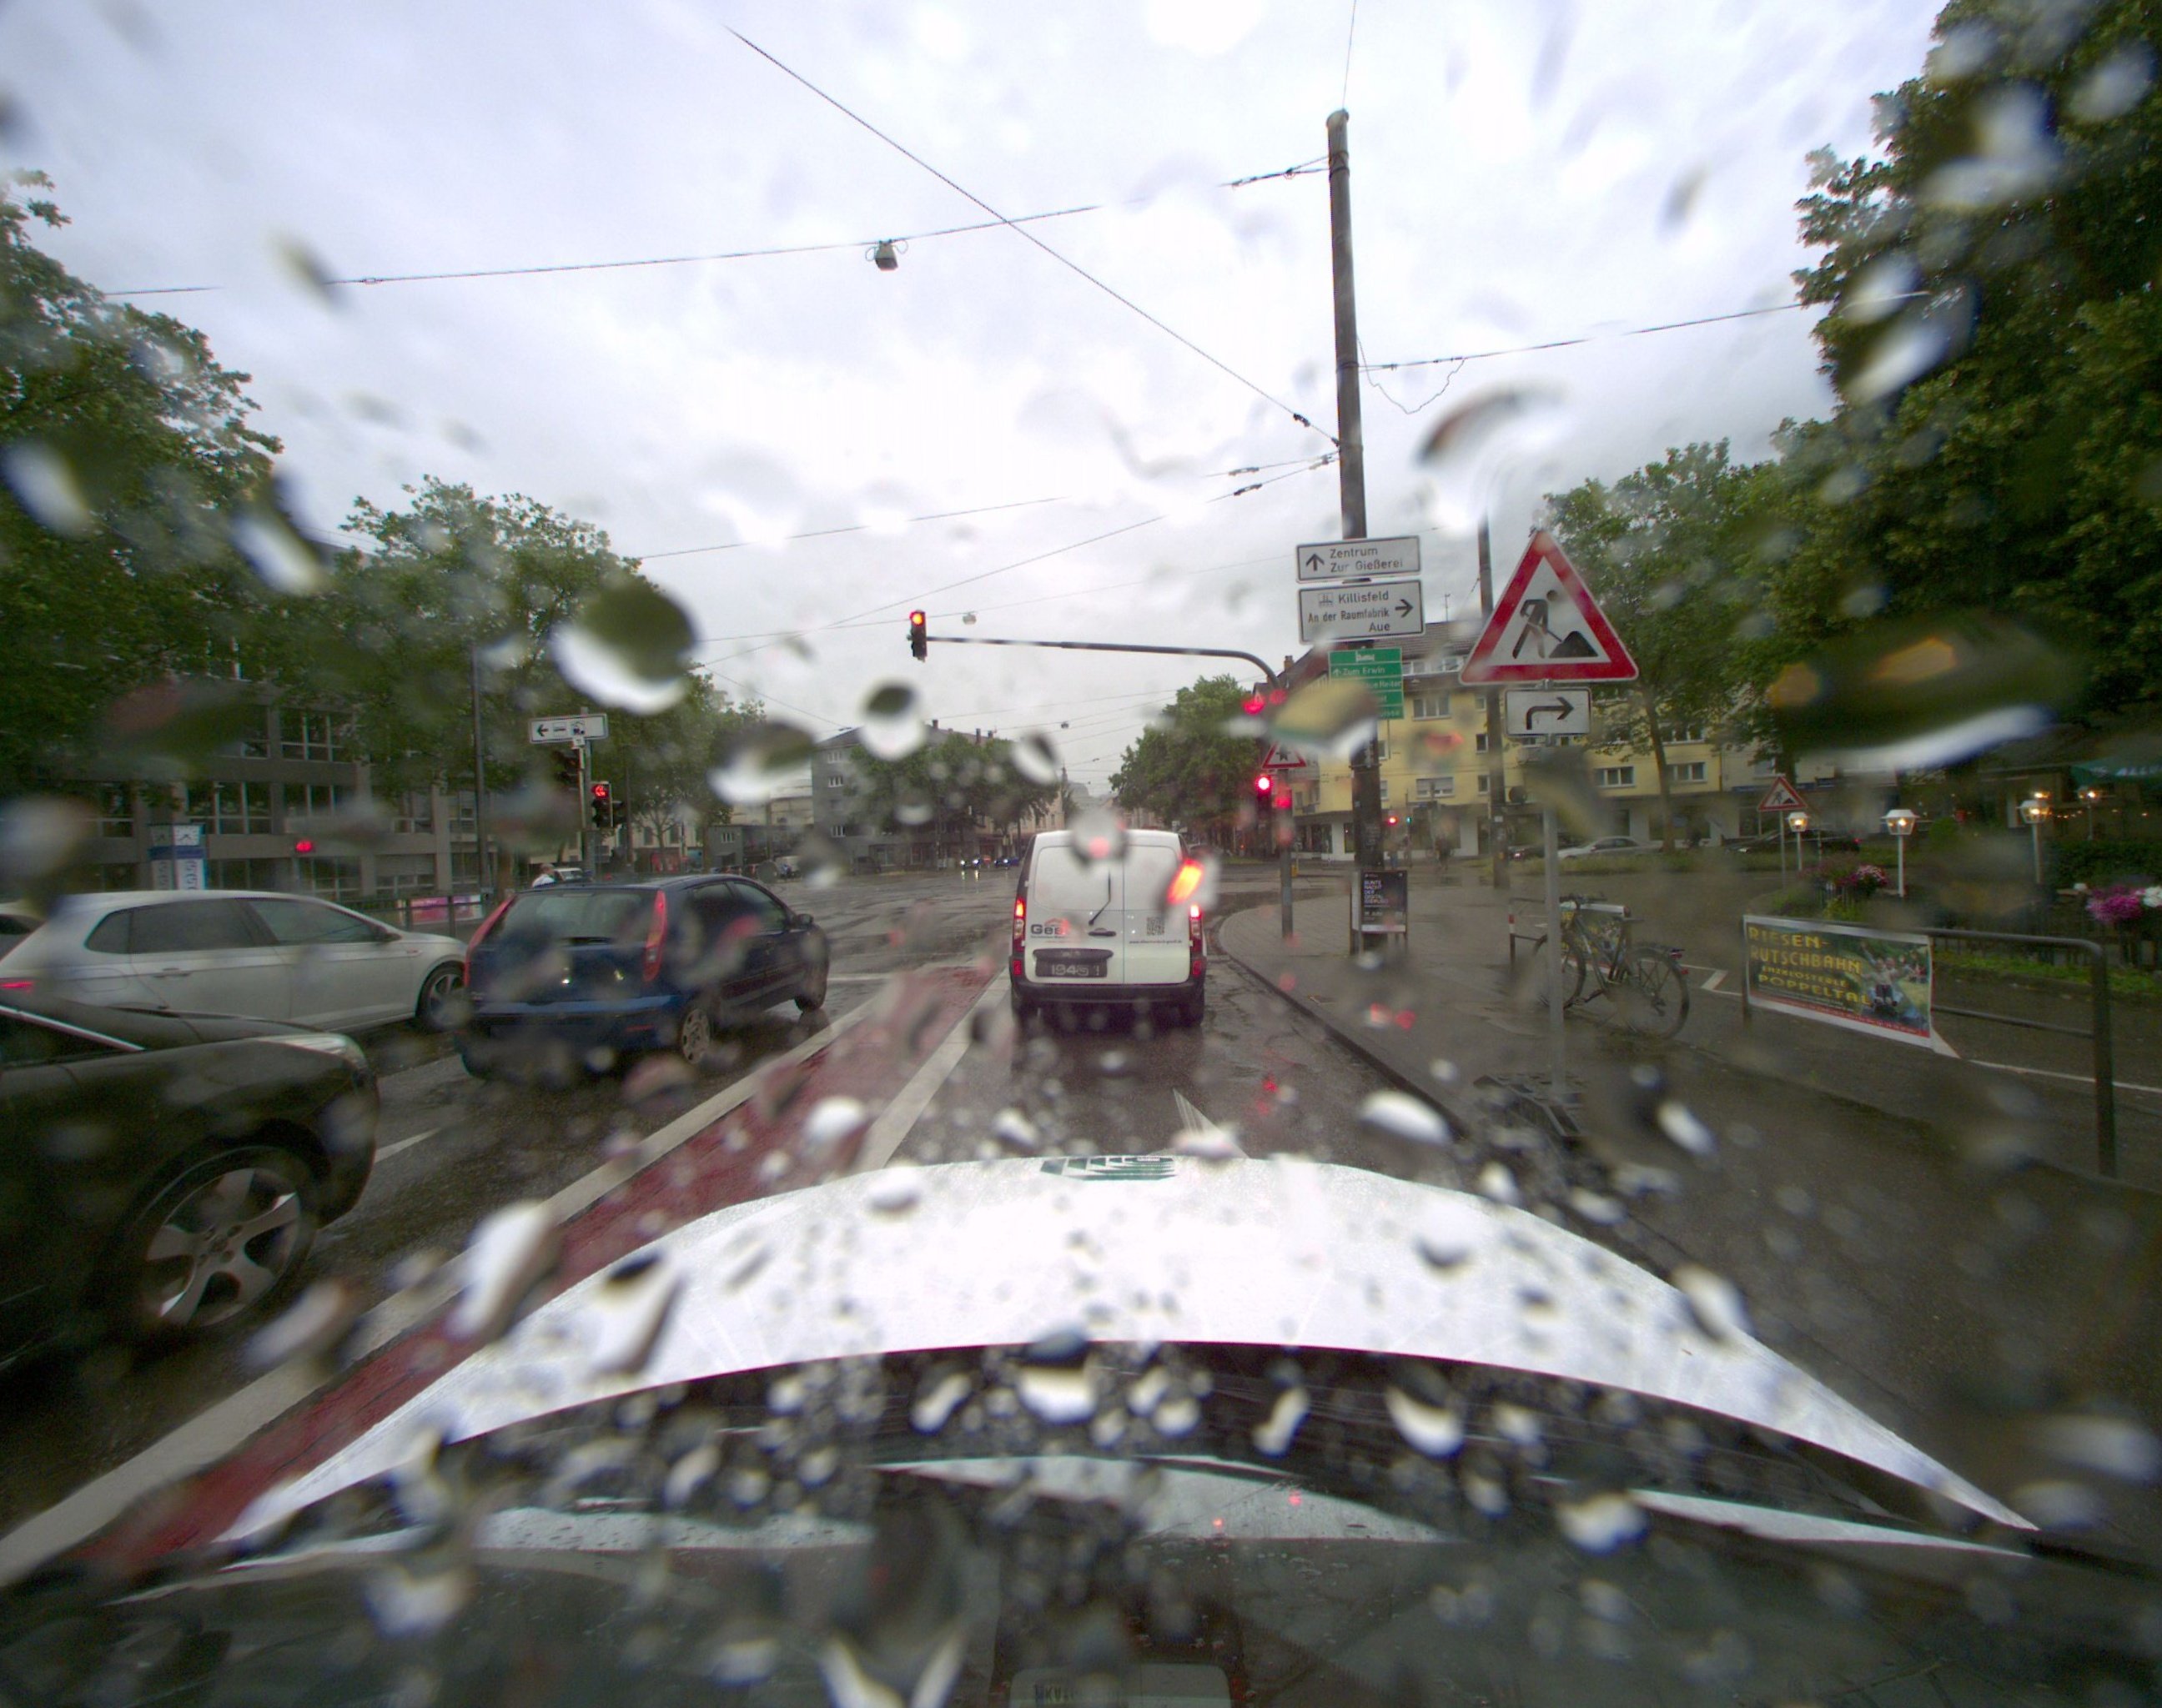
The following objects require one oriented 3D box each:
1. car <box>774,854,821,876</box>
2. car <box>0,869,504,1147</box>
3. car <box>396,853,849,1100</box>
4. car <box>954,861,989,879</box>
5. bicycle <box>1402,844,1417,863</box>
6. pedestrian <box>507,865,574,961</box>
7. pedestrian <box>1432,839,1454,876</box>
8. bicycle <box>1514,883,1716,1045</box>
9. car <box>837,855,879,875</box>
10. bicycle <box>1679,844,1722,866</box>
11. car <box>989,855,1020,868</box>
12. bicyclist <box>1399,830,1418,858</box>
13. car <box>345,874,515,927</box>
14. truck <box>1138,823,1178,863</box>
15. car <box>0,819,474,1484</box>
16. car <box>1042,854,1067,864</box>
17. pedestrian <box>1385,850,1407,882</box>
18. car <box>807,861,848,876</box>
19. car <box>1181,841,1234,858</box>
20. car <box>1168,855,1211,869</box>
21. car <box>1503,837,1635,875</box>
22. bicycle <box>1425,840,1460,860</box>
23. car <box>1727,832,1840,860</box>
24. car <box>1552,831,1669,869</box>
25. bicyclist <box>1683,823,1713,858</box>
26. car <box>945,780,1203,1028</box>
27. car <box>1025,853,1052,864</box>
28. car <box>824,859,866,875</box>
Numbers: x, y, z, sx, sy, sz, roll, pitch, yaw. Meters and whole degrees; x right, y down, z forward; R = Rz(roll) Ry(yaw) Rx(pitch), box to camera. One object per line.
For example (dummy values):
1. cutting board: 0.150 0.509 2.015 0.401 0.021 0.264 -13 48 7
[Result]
1. car: -30.748 1.126 88.407 1.975 2.198 4.816 0 2 25
2. car: -6.778 0.906 6.446 1.623 1.494 3.783 -1 0 2
3. car: -3.518 0.801 7.187 1.720 1.578 3.822 -1 0 2
4. car: -11.077 1.567 82.785 1.935 1.607 4.020 -1 1 19
5. bicycle: 18.700 -0.028 46.304 0.651 1.027 2.036 -1 0 26
6. pedestrian: -9.406 1.013 14.189 0.621 1.607 0.744 -1 0 9
7. pedestrian: 16.760 0.149 37.694 0.896 1.669 1.026 -1 0 26
8. bicycle: 4.481 0.848 7.030 0.512 1.107 2.018 1 0 3
9. car: -23.413 1.161 85.444 1.975 2.013 4.025 -1 0 29
10. bicycle: 28.586 0.057 37.596 1.631 1.002 0.422 -1 0 2
11. car: -8.559 0.859 91.680 1.935 1.239 4.020 -1 1 19
12. bicyclist: 18.644 -0.558 46.324 0.925 1.547 1.075 -1 0 25
13. car: -18.601 1.276 23.473 1.582 1.314 3.538 -1 0 16
14. truck: 10.828 -1.401 112.274 3.446 5.087 15.361 -1 0 13
15. car: -3.653 0.759 1.504 1.827 1.668 4.174 -1 0 2
16. car: -3.487 0.670 108.327 1.935 1.239 4.020 -1 1 19
17. pedestrian: 15.555 0.589 40.213 0.820 1.534 0.616 -1 -1 -37
18. car: -27.515 1.578 88.477 1.935 1.496 4.025 -1 1 29
19. car: 10.647 -0.374 68.864 4.160 1.339 1.518 -2 1 -6
20. car: 9.414 0.698 70.956 3.437 1.130 1.468 -1 0 -6
21. car: 22.858 0.130 38.352 4.902 1.643 2.007 -1 -3 14
22. bicycle: 24.335 -0.275 54.837 2.085 1.261 0.534 -1 1 16
23. car: 29.281 -0.323 34.011 3.511 1.082 1.248 -1 0 4
24. car: 22.847 -0.182 35.277 3.906 1.490 1.815 -1 1 17
25. bicyclist: 28.500 -0.620 37.609 0.811 1.615 0.711 -1 0 2
26. car: 0.022 0.435 9.245 2.092 2.012 4.965 -2 -1 2
27. car: -5.318 0.588 102.034 1.935 1.239 4.020 -1 1 19
28. car: -25.300 1.401 87.483 1.975 1.530 4.025 -1 1 29
